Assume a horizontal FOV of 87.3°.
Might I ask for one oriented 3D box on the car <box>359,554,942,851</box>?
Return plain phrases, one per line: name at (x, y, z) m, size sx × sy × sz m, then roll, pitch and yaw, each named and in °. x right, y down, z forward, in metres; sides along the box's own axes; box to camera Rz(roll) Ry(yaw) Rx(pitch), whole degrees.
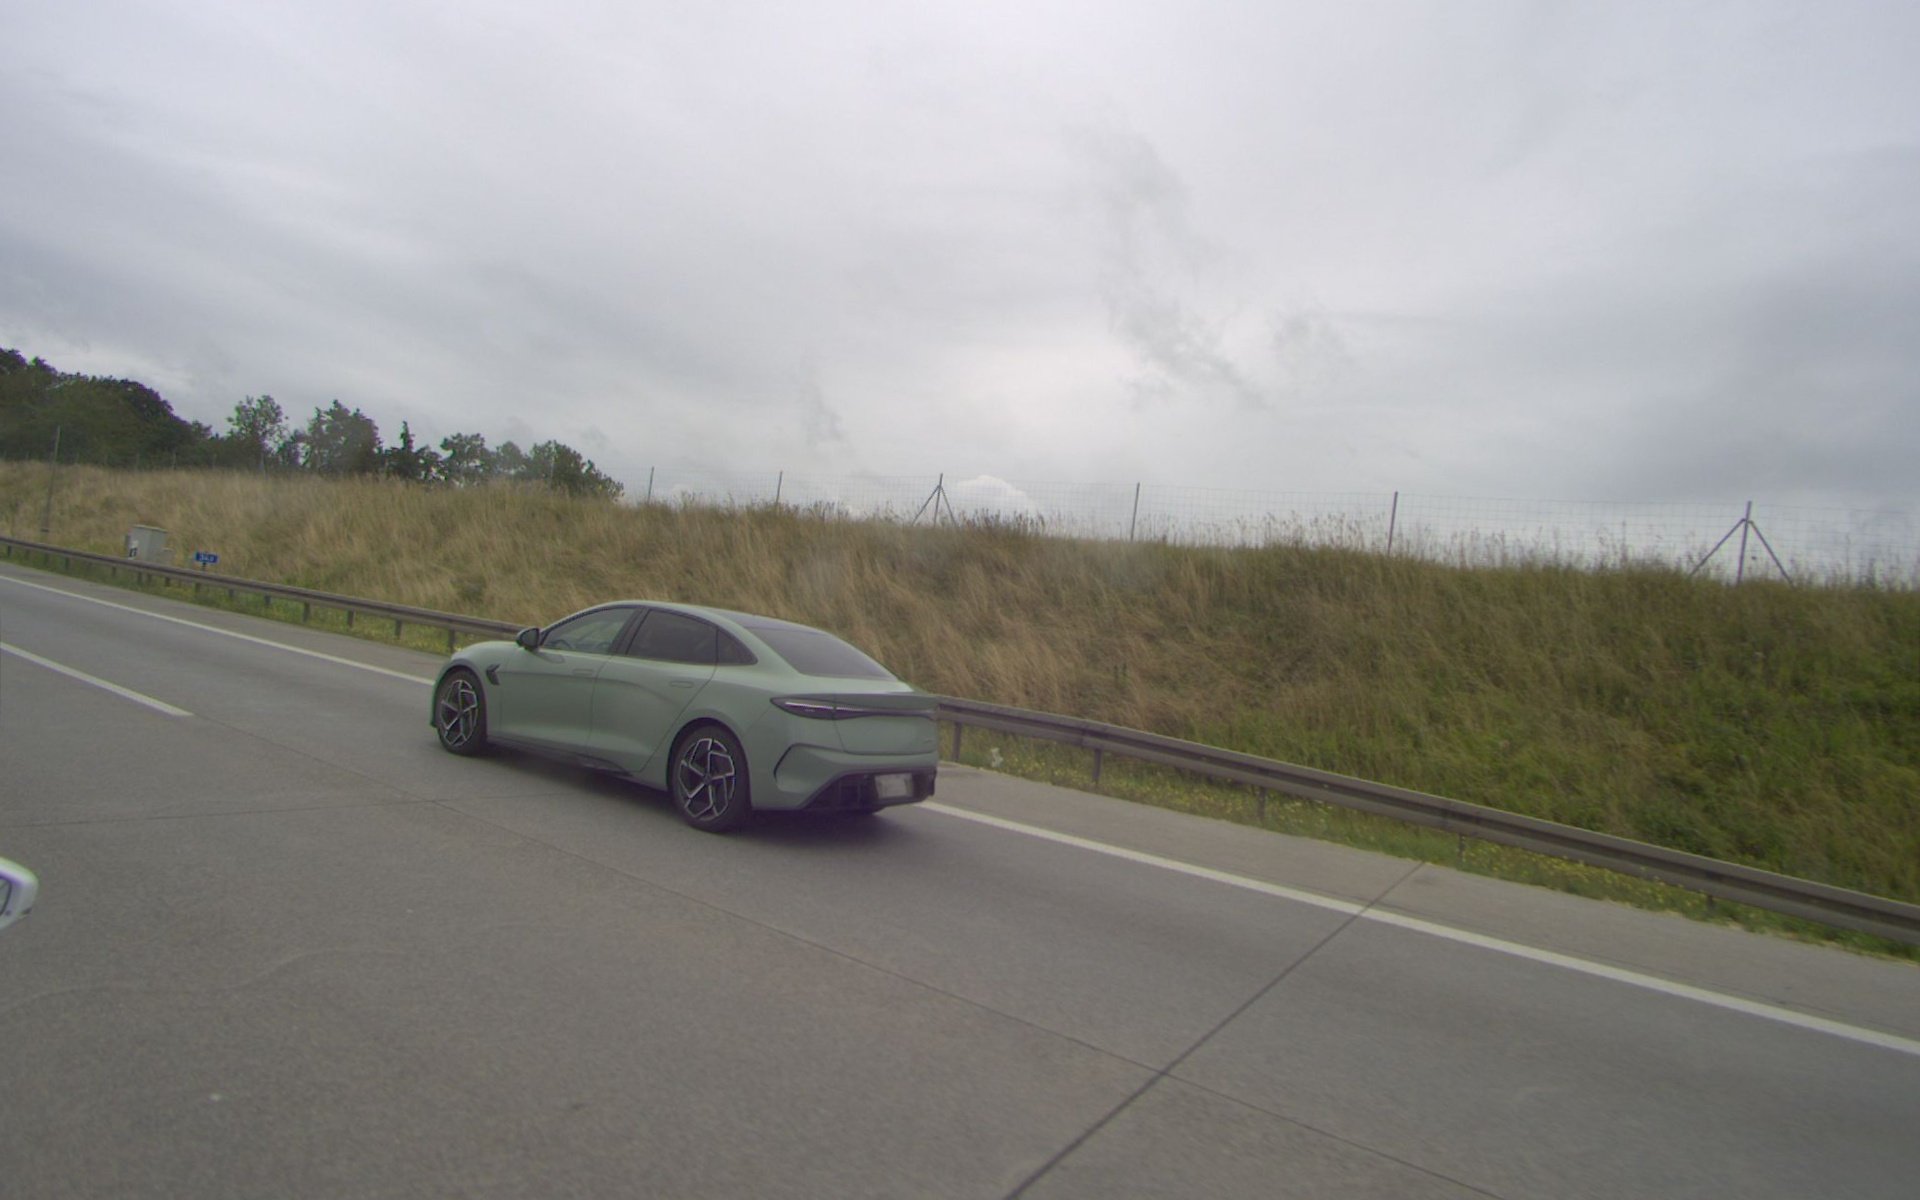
car at (-2.714, 0.678, 8.449) m, size 4.666 × 1.463 × 2.017 m, roll 8°, pitch 0°, yaw 32°
